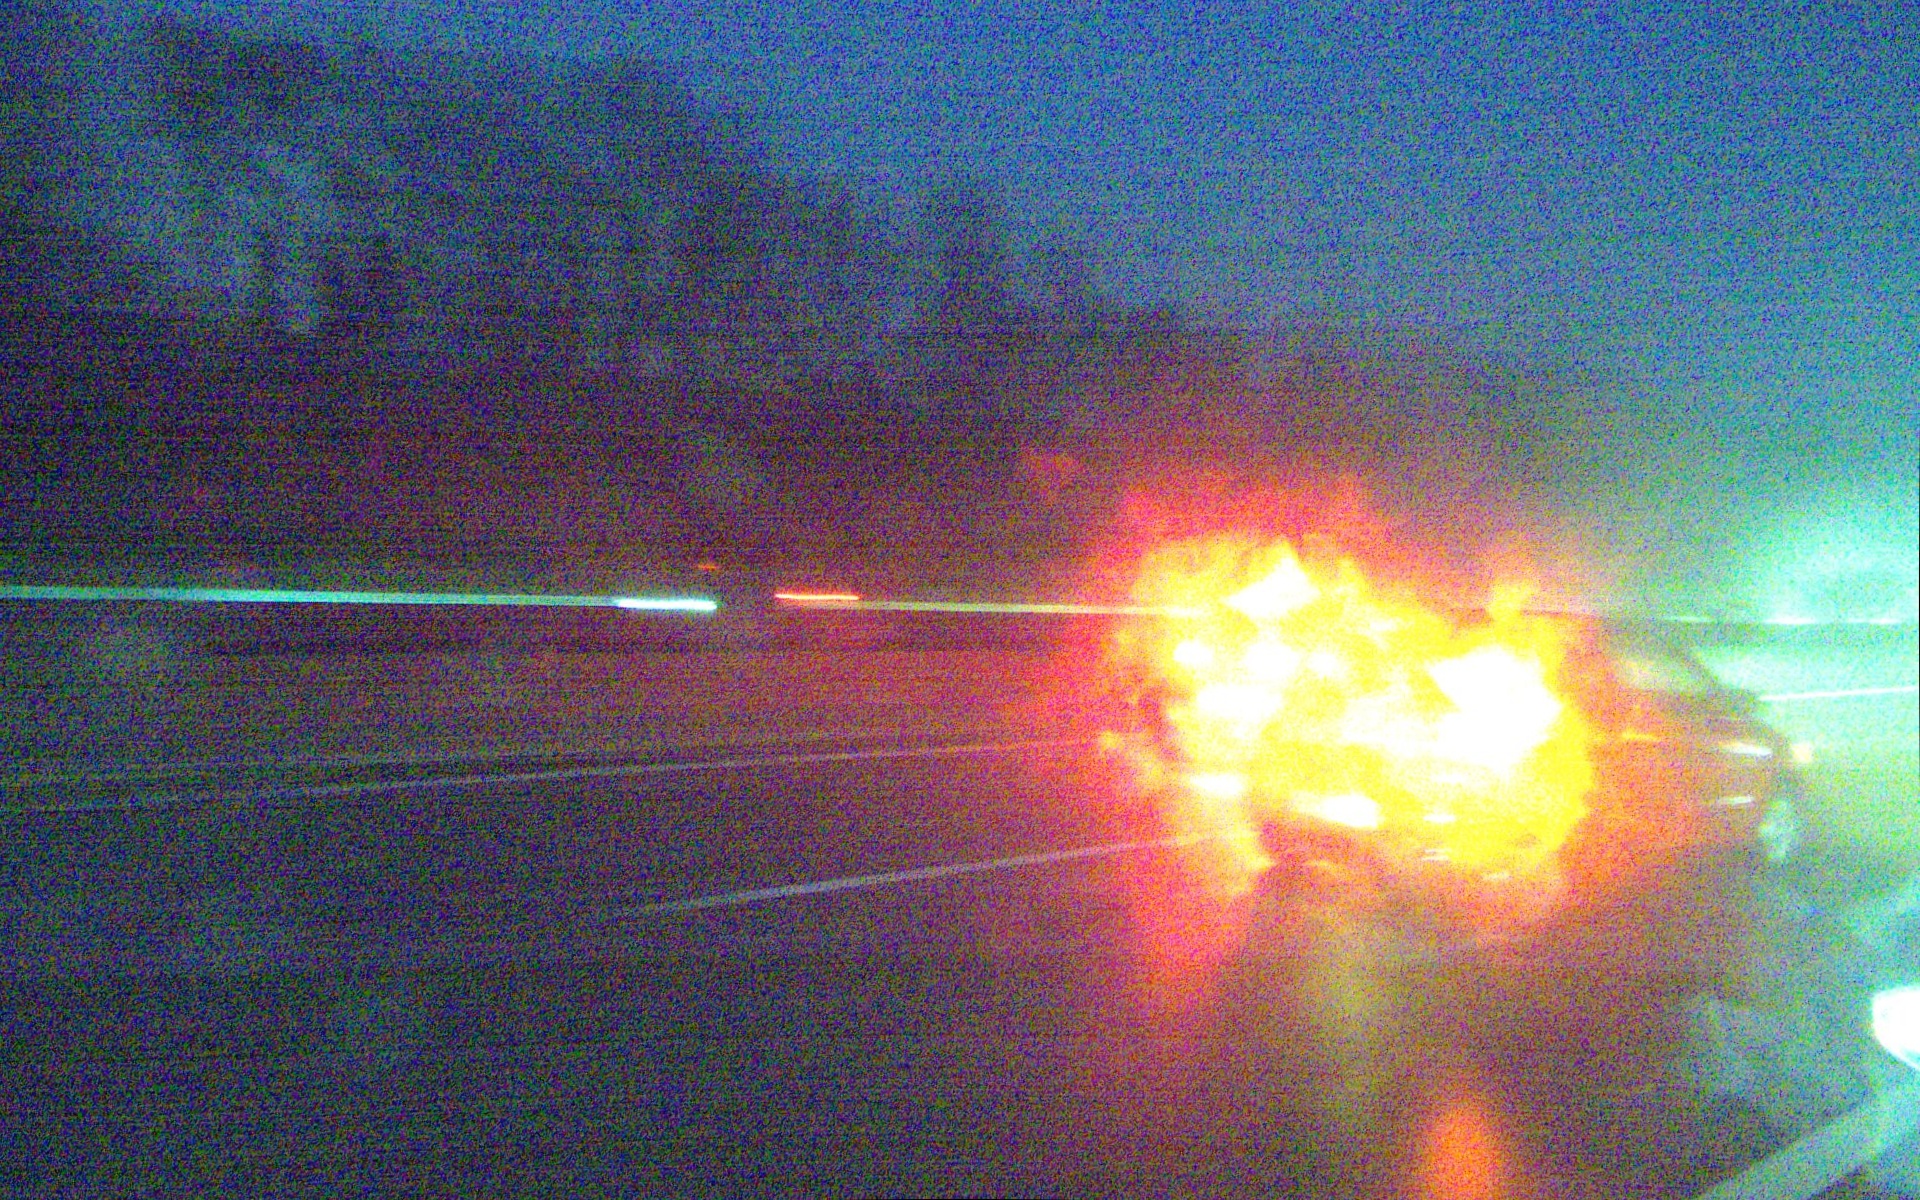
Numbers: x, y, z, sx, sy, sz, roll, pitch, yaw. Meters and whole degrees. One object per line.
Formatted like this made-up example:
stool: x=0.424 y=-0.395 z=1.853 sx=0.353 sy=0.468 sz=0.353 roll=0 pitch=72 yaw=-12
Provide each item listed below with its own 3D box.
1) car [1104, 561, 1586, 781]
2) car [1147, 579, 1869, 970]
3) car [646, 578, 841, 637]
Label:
car: x=4.015 y=0.628 z=10.267 sx=4.829 sy=1.801 sz=1.984 roll=2 pitch=0 yaw=-30
car: x=3.375 y=0.759 z=6.036 sx=4.184 sy=1.616 sz=1.906 roll=2 pitch=0 yaw=-30
car: x=-5.949 y=0.221 z=27.847 sx=4.983 sy=1.484 sz=1.777 roll=1 pitch=1 yaw=-32
